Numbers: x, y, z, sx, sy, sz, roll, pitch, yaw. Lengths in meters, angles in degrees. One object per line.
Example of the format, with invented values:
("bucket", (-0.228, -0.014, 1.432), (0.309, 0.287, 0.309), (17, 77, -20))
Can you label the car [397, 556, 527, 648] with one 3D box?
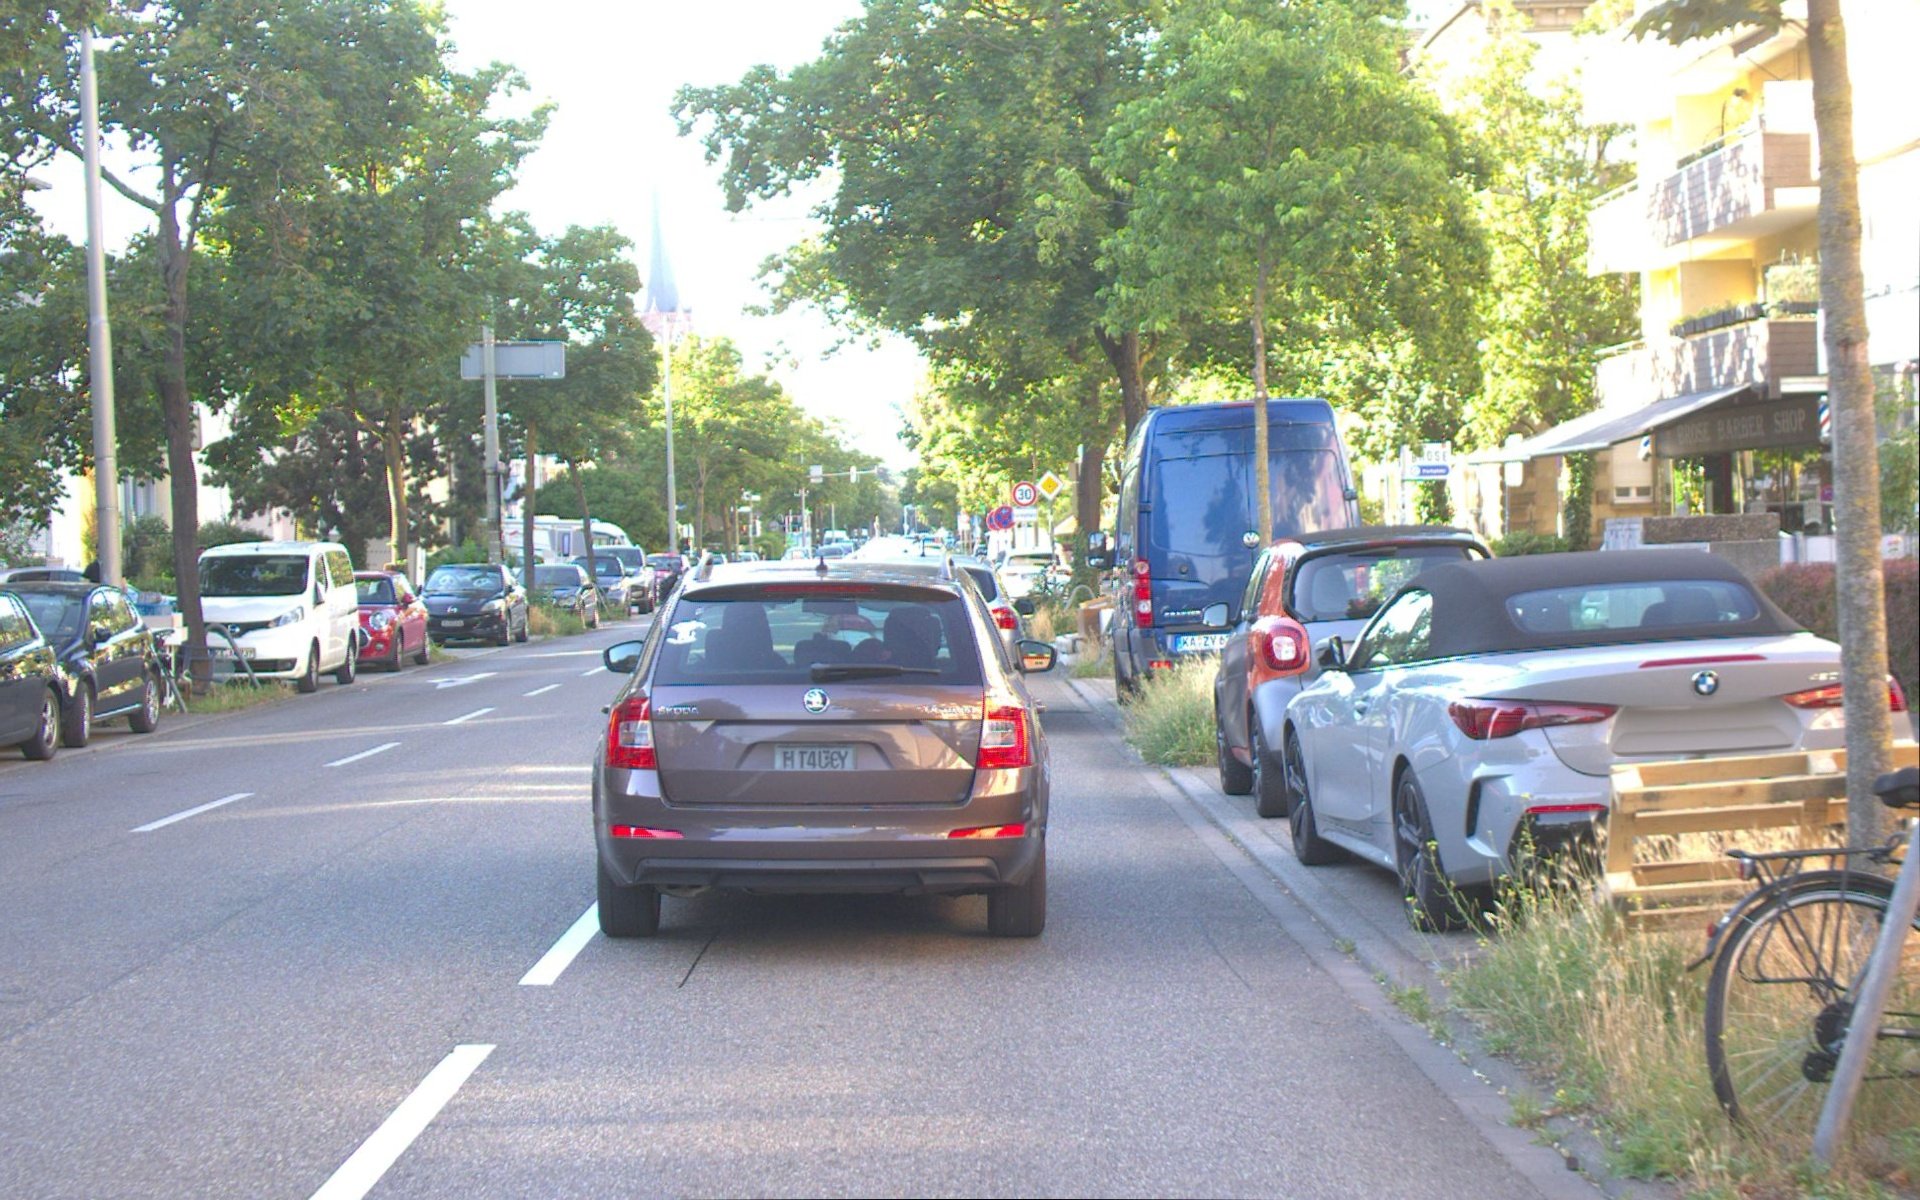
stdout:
("car", (-8.912, 0.011, 61.806), (1.717, 1.492, 4.248), (-1, 1, 0))

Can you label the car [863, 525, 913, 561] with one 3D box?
("car", (-3.672, -2.944, 176.572), (1.877, 1.751, 4.177), (-1, 1, 8))

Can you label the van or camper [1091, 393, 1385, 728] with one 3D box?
("van or camper", (2.372, -0.346, 30.914), (2.068, 2.666, 5.990), (-1, 0, 0))

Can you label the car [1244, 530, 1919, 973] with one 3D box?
("car", (2.517, 0.480, 14.419), (1.920, 1.481, 4.747), (-1, 1, -4))

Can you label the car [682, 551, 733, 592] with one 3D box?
("car", (-9.371, -1.084, 127.805), (1.664, 1.427, 3.275), (-1, 1, -1))

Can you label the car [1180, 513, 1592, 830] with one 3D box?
("car", (2.385, 0.362, 20.137), (1.772, 1.636, 3.757), (-1, 0, -2))

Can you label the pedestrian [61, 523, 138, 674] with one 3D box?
("pedestrian", (-11.666, -0.032, 46.635), (0.767, 2.007, 0.976), (-1, 1, -1))

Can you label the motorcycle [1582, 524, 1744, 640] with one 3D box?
("motorcycle", (10.176, -0.262, 49.808), (2.195, 1.615, 0.889), (-1, 1, 6))

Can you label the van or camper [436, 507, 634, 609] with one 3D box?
("van or camper", (-16.997, -1.706, 137.664), (7.639, 3.861, 2.000), (-1, 1, -2))

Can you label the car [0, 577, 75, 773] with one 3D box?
("car", (-8.421, 0.626, 27.180), (1.750, 1.497, 4.197), (-1, 1, 0))

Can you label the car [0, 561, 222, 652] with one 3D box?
("car", (-14.820, 0.093, 58.890), (3.986, 1.474, 2.000), (-1, 1, -4))

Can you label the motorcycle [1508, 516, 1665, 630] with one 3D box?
("motorcycle", (9.238, -0.406, 50.752), (2.195, 1.615, 0.731), (-1, 1, 6))

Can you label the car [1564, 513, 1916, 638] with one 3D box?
("car", (9.897, -0.325, 43.791), (3.986, 1.457, 1.825), (-1, 1, -3))

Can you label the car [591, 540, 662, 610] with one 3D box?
("car", (-8.829, -0.670, 91.153), (1.507, 1.751, 3.694), (-1, 1, -1))

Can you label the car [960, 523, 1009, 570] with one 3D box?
("car", (0.955, -2.129, 136.249), (1.729, 1.809, 3.951), (-1, 1, -2))

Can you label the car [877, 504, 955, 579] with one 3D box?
("car", (-1.003, -1.357, 79.262), (1.732, 1.645, 3.542), (-1, 1, 0))

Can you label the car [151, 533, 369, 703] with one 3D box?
("car", (-8.588, 0.170, 42.517), (1.770, 1.912, 4.460), (-1, 1, 0))

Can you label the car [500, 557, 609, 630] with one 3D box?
("car", (-8.637, -0.170, 73.520), (1.754, 1.415, 4.426), (-1, 1, 0))

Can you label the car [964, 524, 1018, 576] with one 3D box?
("car", (1.114, -1.808, 123.759), (1.729, 1.809, 3.951), (-1, 1, -2))

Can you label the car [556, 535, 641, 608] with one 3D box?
("car", (-9.065, -0.738, 86.484), (1.750, 1.734, 3.591), (-1, 1, 0))

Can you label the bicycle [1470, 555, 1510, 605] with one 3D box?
("bicycle", (10.211, -0.398, 66.226), (0.342, 0.947, 1.582), (1, 1, -6))

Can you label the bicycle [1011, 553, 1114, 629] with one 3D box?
("bicycle", (1.813, -0.159, 60.817), (1.671, 1.222, 0.635), (-3, 1, 13))

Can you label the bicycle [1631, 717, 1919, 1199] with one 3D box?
("bicycle", (2.366, 0.814, 8.112), (1.476, 1.055, 0.412), (-2, 1, -13))

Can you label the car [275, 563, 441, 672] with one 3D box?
("car", (-8.676, 0.225, 49.806), (1.717, 1.416, 3.787), (-1, 1, 0))

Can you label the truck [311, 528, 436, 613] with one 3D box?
("truck", (-14.985, -0.771, 87.925), (2.913, 2.086, 1.546), (-1, 1, -1))

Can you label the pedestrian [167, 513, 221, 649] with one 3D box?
("pedestrian", (-11.456, -0.295, 51.440), (0.626, 2.007, 0.616), (-1, 1, -1))

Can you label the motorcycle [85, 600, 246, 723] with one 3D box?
("motorcycle", (-8.232, 0.629, 35.676), (0.441, 1.188, 1.703), (0, 2, 37))

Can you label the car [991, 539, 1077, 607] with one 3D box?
("car", (1.655, -0.622, 76.572), (1.821, 1.408, 4.111), (-1, 1, 2))

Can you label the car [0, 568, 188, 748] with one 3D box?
("car", (-8.546, 0.501, 32.124), (1.750, 1.497, 3.979), (-1, 1, 0))

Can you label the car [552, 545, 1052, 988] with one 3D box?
("car", (-0.529, 0.558, 14.124), (1.729, 1.488, 3.951), (-1, 1, 1))

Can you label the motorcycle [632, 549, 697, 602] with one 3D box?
("motorcycle", (-8.729, -0.721, 101.515), (0.764, 1.506, 2.029), (-3, 2, -43))

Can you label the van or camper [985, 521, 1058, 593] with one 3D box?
("van or camper", (1.778, -1.271, 100.467), (1.993, 2.007, 4.000), (-1, 1, 0))

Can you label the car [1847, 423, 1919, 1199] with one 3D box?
("car", (2.458, 0.557, 3.904), (1.732, 1.645, 4.291), (-1, 1, 0))

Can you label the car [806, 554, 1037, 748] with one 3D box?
("car", (-0.399, 0.385, 29.860), (1.729, 1.488, 3.951), (-1, 1, -4))

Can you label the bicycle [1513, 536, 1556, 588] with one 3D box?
("bicycle", (10.967, -0.730, 65.635), (0.342, 0.947, 1.582), (-4, 1, -6))
